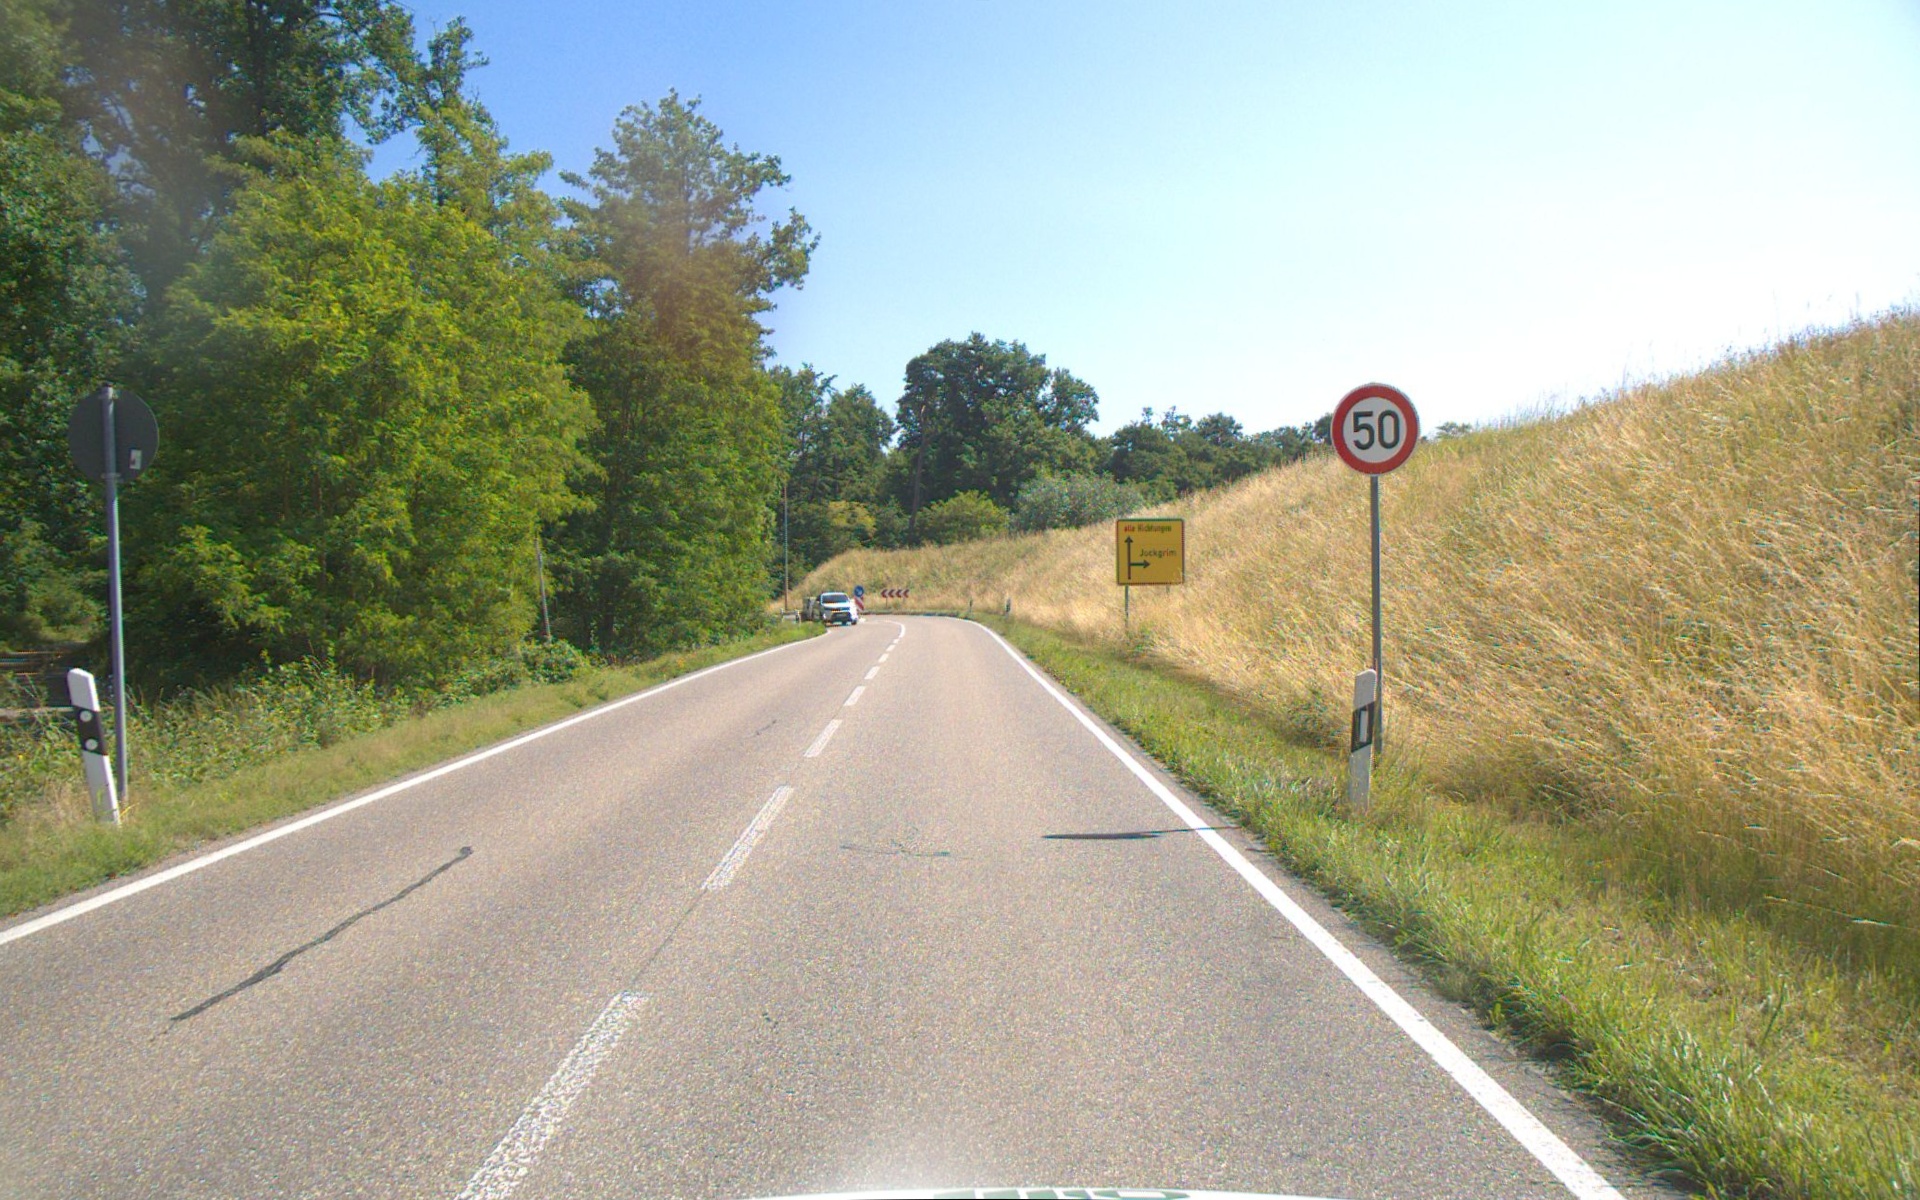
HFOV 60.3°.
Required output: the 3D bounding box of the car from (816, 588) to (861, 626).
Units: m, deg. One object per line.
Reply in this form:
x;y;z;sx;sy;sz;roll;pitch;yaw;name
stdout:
-5.943;0.331;81.217;1.772;1.706;4.000;-3;0;1;car
